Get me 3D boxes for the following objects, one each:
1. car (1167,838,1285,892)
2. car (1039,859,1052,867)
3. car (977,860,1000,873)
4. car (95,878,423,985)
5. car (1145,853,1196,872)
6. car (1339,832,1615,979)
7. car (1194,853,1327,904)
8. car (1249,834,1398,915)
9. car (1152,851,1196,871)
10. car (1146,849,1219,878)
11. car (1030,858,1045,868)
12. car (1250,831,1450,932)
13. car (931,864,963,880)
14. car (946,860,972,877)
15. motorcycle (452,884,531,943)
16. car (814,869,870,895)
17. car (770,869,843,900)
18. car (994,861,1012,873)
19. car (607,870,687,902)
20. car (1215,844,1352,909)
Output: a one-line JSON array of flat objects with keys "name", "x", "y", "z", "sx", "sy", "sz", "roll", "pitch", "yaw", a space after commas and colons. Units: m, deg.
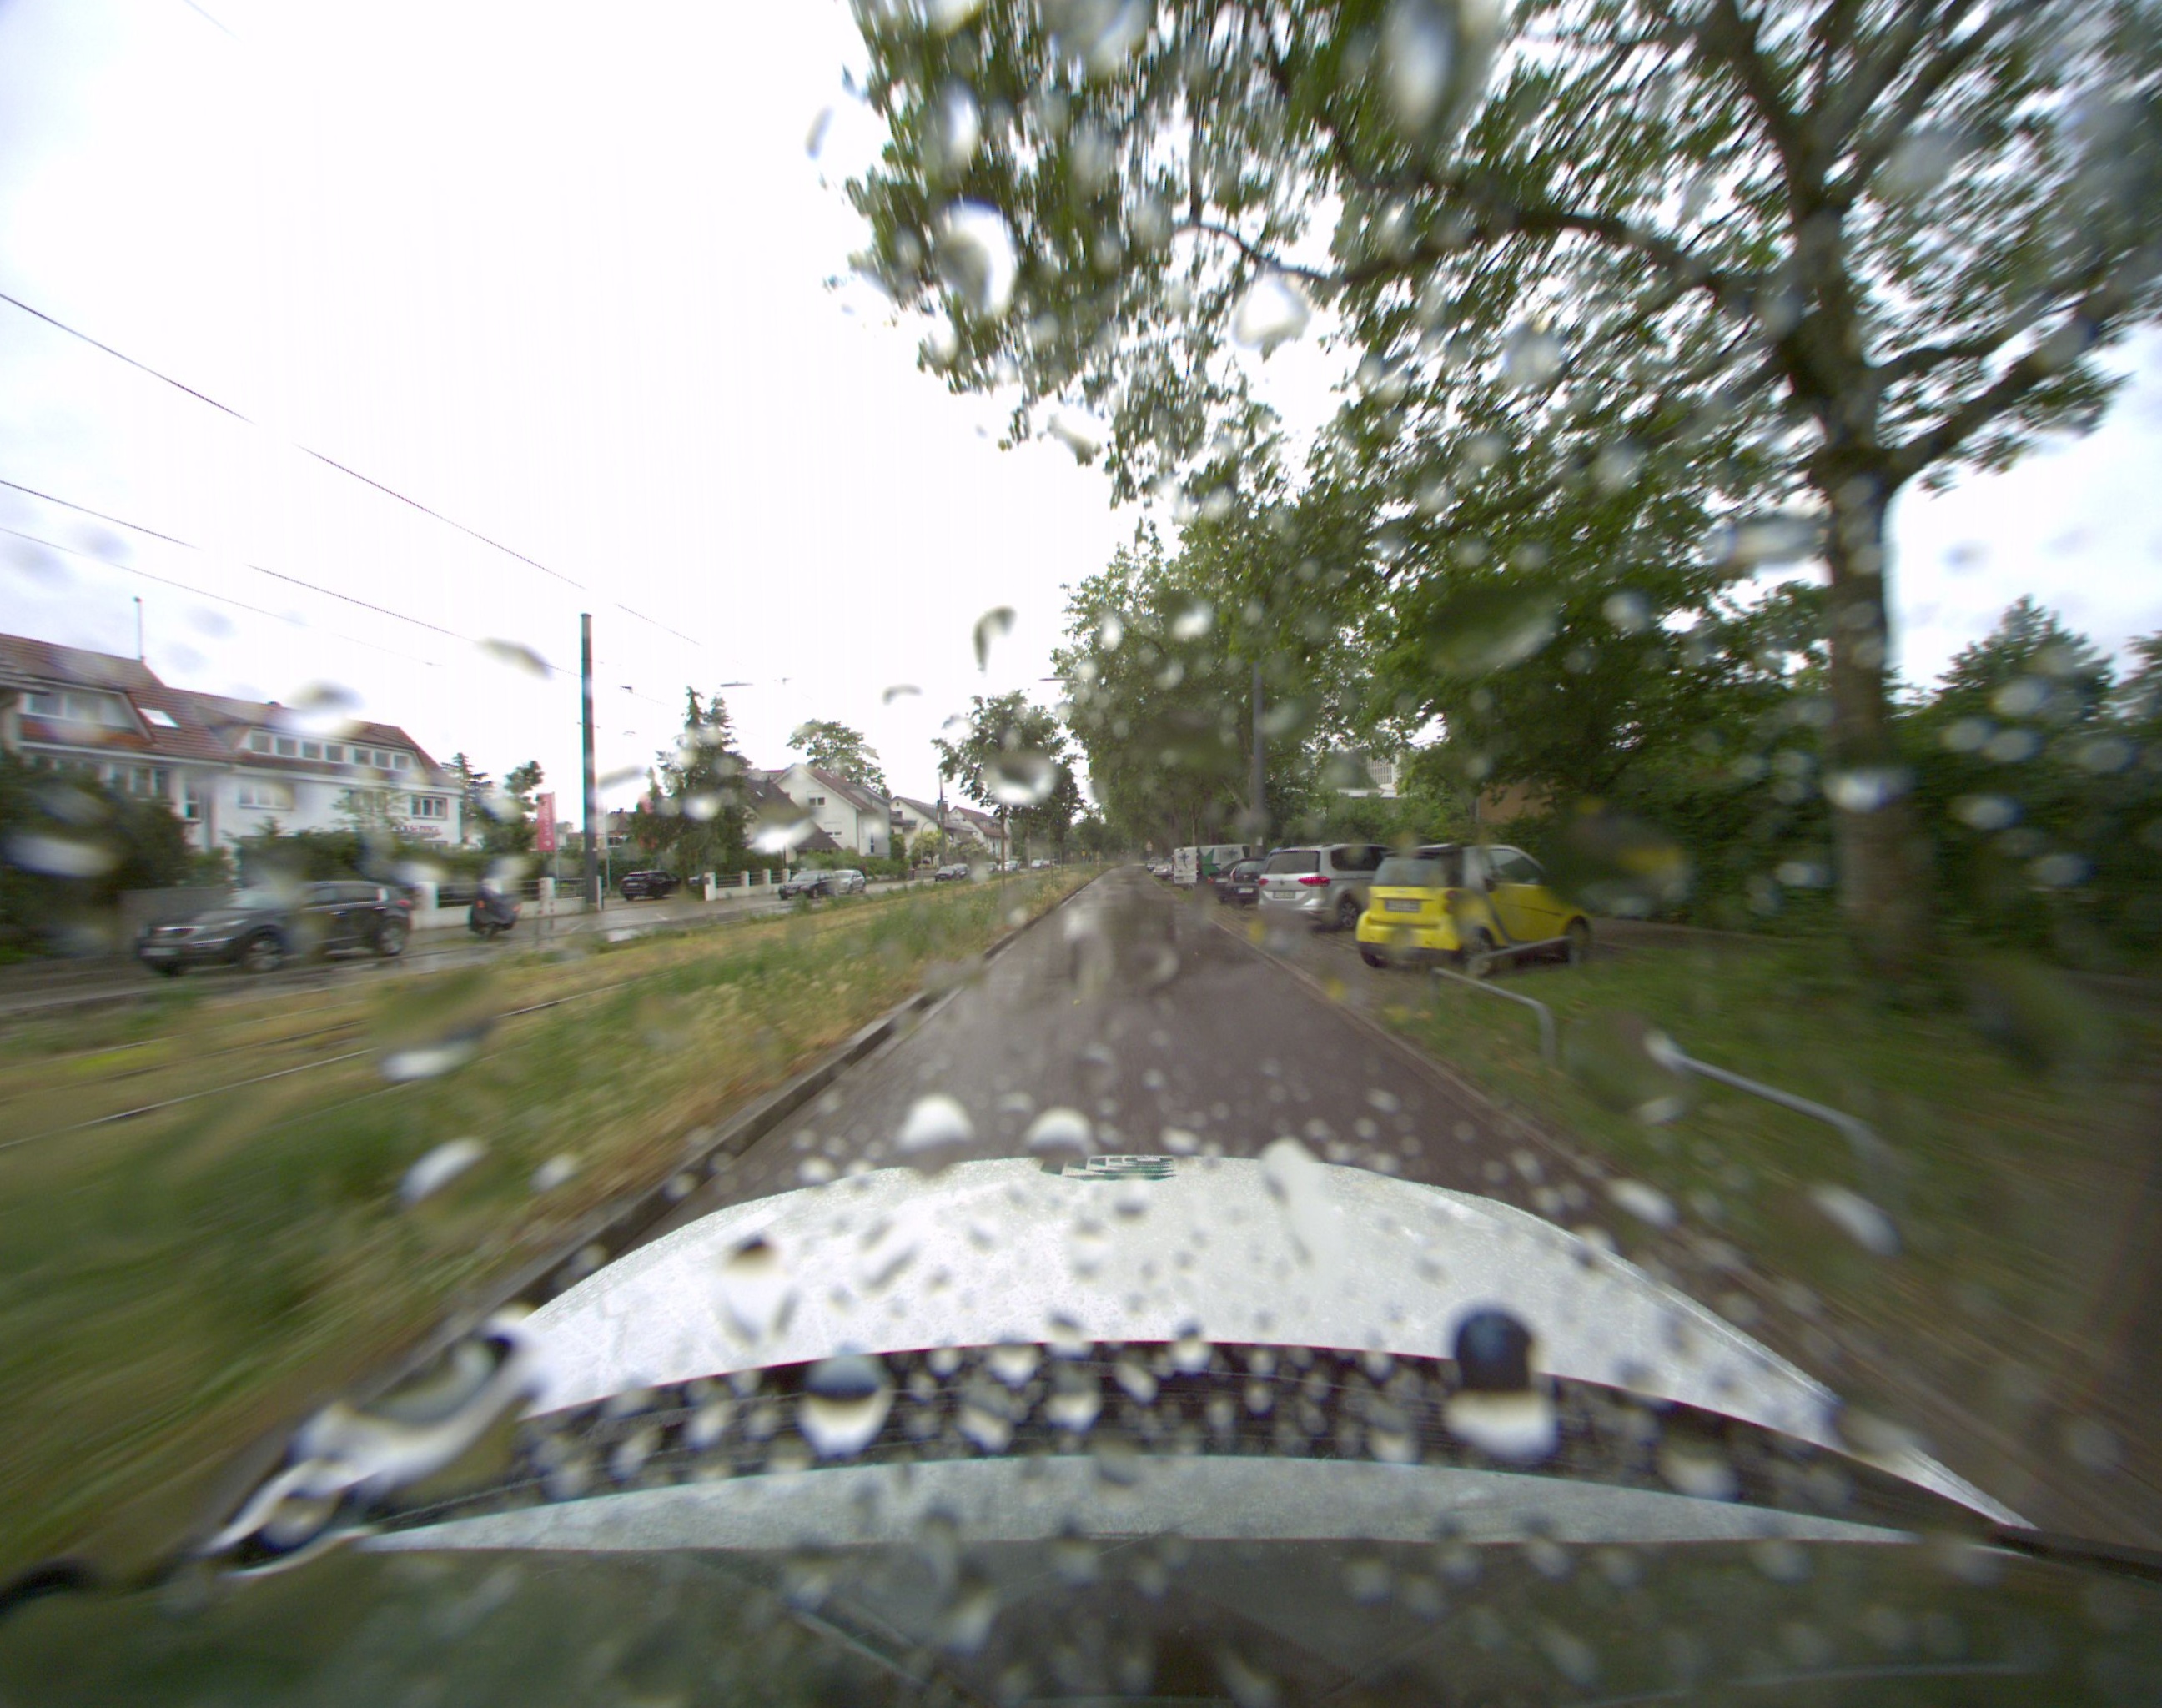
[{"name": "car", "x": 6.429, "y": 0.433, "z": 35.872, "sx": 5.049, "sy": 2.013, "sz": 1.979, "roll": -4, "pitch": 1, "yaw": -33}, {"name": "car", "x": -6.704, "y": 1.744, "z": 155.199, "sx": 1.984, "sy": 1.488, "sz": 4.210, "roll": 0, "pitch": 0, "yaw": 4}, {"name": "car", "x": -11.285, "y": 1.538, "z": 99.256, "sx": 1.984, "sy": 1.516, "sz": 4.210, "roll": 0, "pitch": 0, "yaw": 4}, {"name": "car", "x": -15.844, "y": 1.386, "z": 16.131, "sx": 1.987, "sy": 1.674, "sz": 4.388, "roll": -1, "pitch": 0, "yaw": 1}, {"name": "car", "x": 8.823, "y": 0.838, "z": 79.808, "sx": 4.794, "sy": 1.668, "sz": 1.974, "roll": -3, "pitch": 0, "yaw": -34}, {"name": "car", "x": 4.947, "y": 0.571, "z": 10.192, "sx": 2.911, "sy": 1.466, "sz": 1.589, "roll": -4, "pitch": -1, "yaw": -27}, {"name": "car", "x": 5.738, "y": 0.737, "z": 25.851, "sx": 4.326, "sy": 1.384, "sz": 1.721, "roll": -2, "pitch": 0, "yaw": -37}, {"name": "car", "x": 5.869, "y": 0.468, "z": 19.629, "sx": 3.287, "sy": 1.671, "sz": 1.577, "roll": -4, "pitch": -1, "yaw": -32}, {"name": "car", "x": 8.484, "y": 0.650, "z": 74.234, "sx": 3.726, "sy": 1.566, "sz": 1.603, "roll": -3, "pitch": 0, "yaw": -30}, {"name": "car", "x": 6.856, "y": 0.613, "z": 54.940, "sx": 4.575, "sy": 1.544, "sz": 1.870, "roll": -5, "pitch": 1, "yaw": -30}, {"name": "car", "x": -7.520, "y": 1.537, "z": 141.677, "sx": 1.984, "sy": 1.581, "sz": 4.522, "roll": 0, "pitch": 0, "yaw": 4}, {"name": "car", "x": 5.431, "y": 0.493, "z": 16.263, "sx": 4.066, "sy": 1.641, "sz": 1.636, "roll": -3, "pitch": -1, "yaw": -36}, {"name": "car", "x": -12.619, "y": 1.690, "z": 76.981, "sx": 1.984, "sy": 1.350, "sz": 4.245, "roll": 0, "pitch": 0, "yaw": 4}, {"name": "car", "x": -12.271, "y": 1.429, "z": 81.946, "sx": 1.866, "sy": 1.550, "sz": 3.873, "roll": 0, "pitch": 0, "yaw": 3}, {"name": "motorcycle", "x": -15.606, "y": 1.528, "z": 21.535, "sx": 2.654, "sy": 1.411, "sz": 1.274, "roll": -2, "pitch": -2, "yaw": 44}, {"name": "car", "x": -14.156, "y": 1.641, "z": 48.452, "sx": 1.986, "sy": 1.411, "sz": 3.974, "roll": 0, "pitch": 0, "yaw": 2}, {"name": "car", "x": -14.290, "y": 1.548, "z": 42.710, "sx": 1.984, "sy": 1.455, "sz": 4.537, "roll": 0, "pitch": 0, "yaw": 4}, {"name": "car", "x": -10.605, "y": 1.734, "z": 110.921, "sx": 1.788, "sy": 1.488, "sz": 3.601, "roll": 0, "pitch": 0, "yaw": 4}, {"name": "car", "x": -22.682, "y": 1.641, "z": 42.734, "sx": 1.985, "sy": 1.455, "sz": 3.921, "roll": 0, "pitch": 0, "yaw": 2}, {"name": "car", "x": 5.624, "y": 0.611, "z": 22.557, "sx": 3.419, "sy": 1.518, "sz": 1.830, "roll": -4, "pitch": -1, "yaw": -35}]
